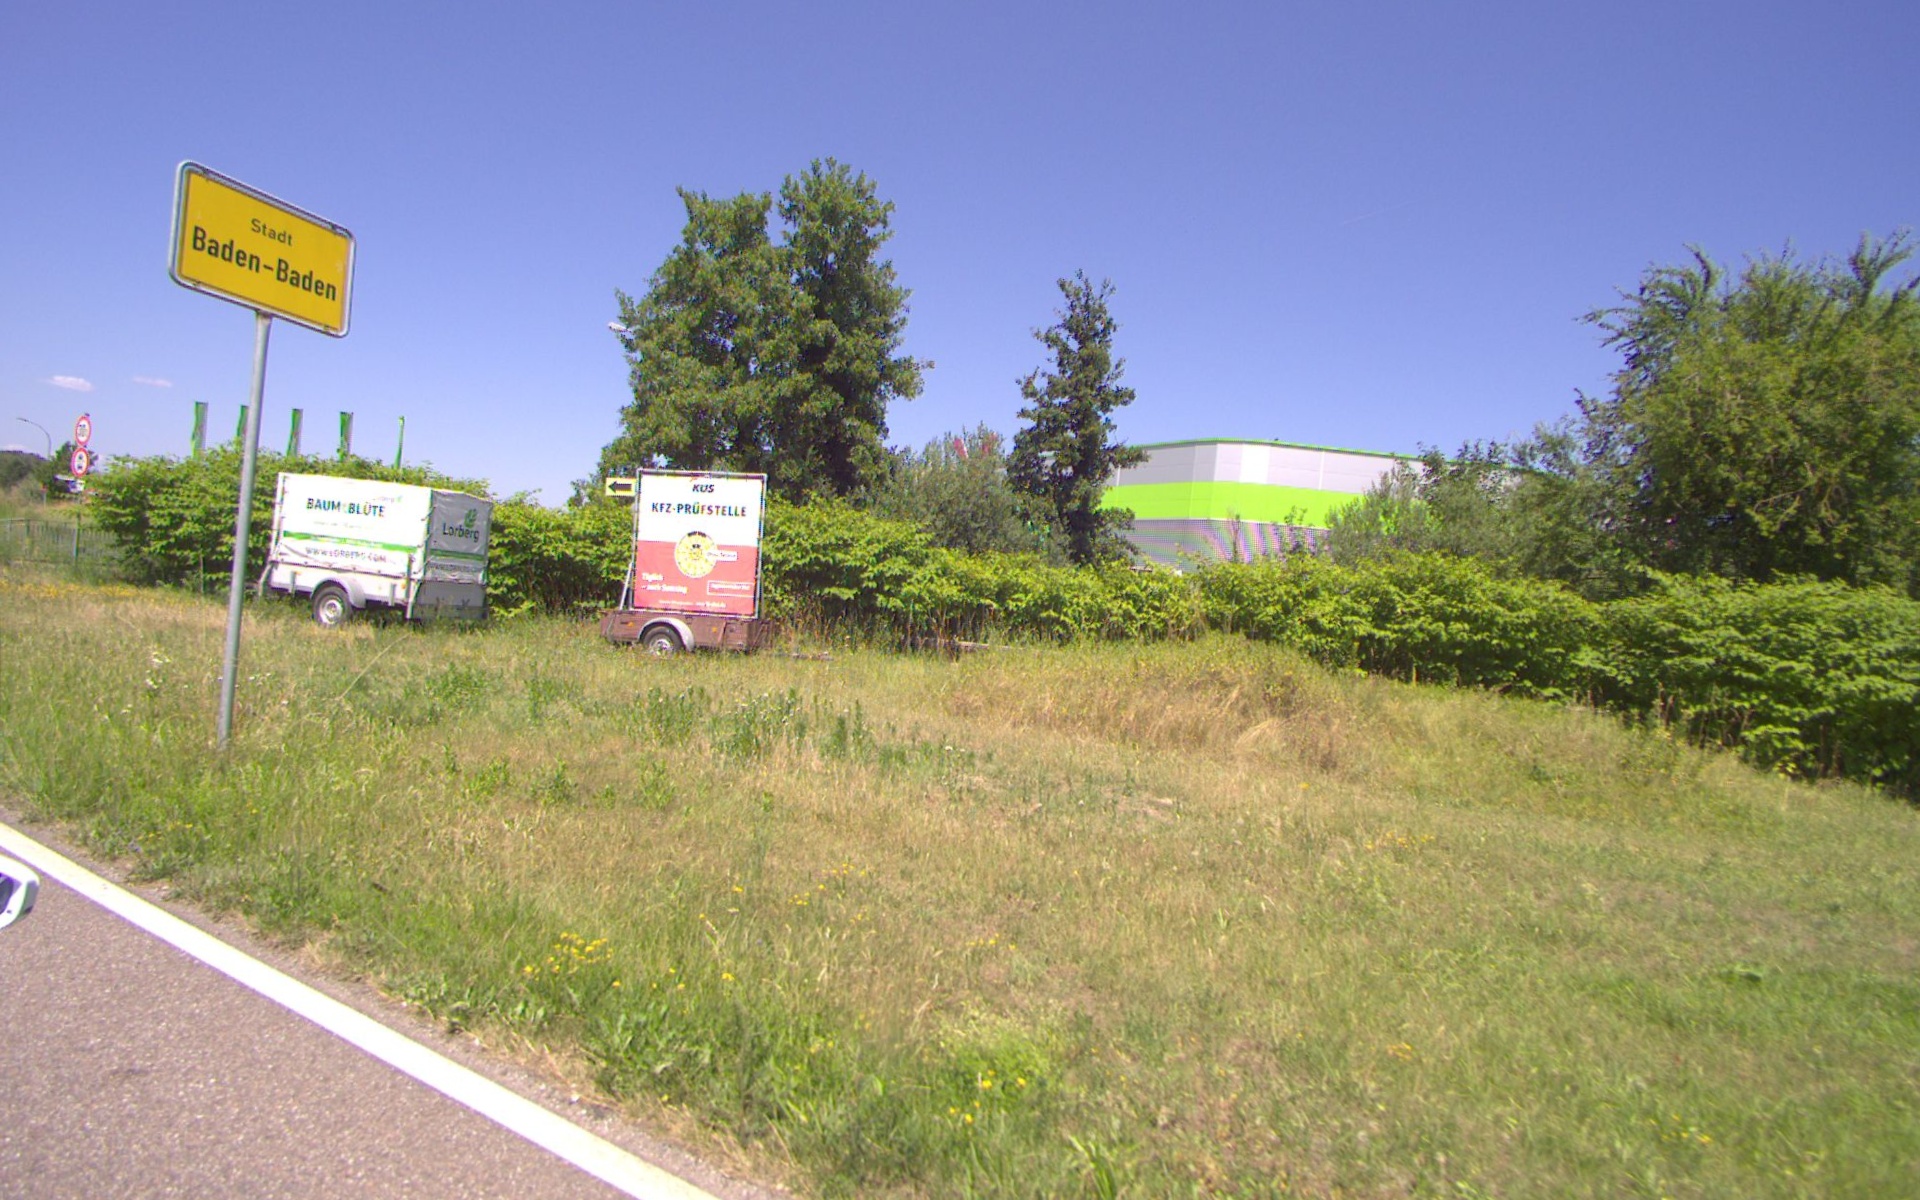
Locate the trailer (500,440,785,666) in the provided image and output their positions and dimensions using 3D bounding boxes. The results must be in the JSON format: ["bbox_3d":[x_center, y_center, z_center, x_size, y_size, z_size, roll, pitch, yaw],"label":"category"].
[{"bbox_3d":[-4.374,-0.619,14.138,3.087,2.704,1.852,6,0,10],"label":"trailer"}]

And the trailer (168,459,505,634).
[{"bbox_3d":[-9.209,-0.746,15.004,3.893,2.104,1.852,6,0,10],"label":"trailer"}]
